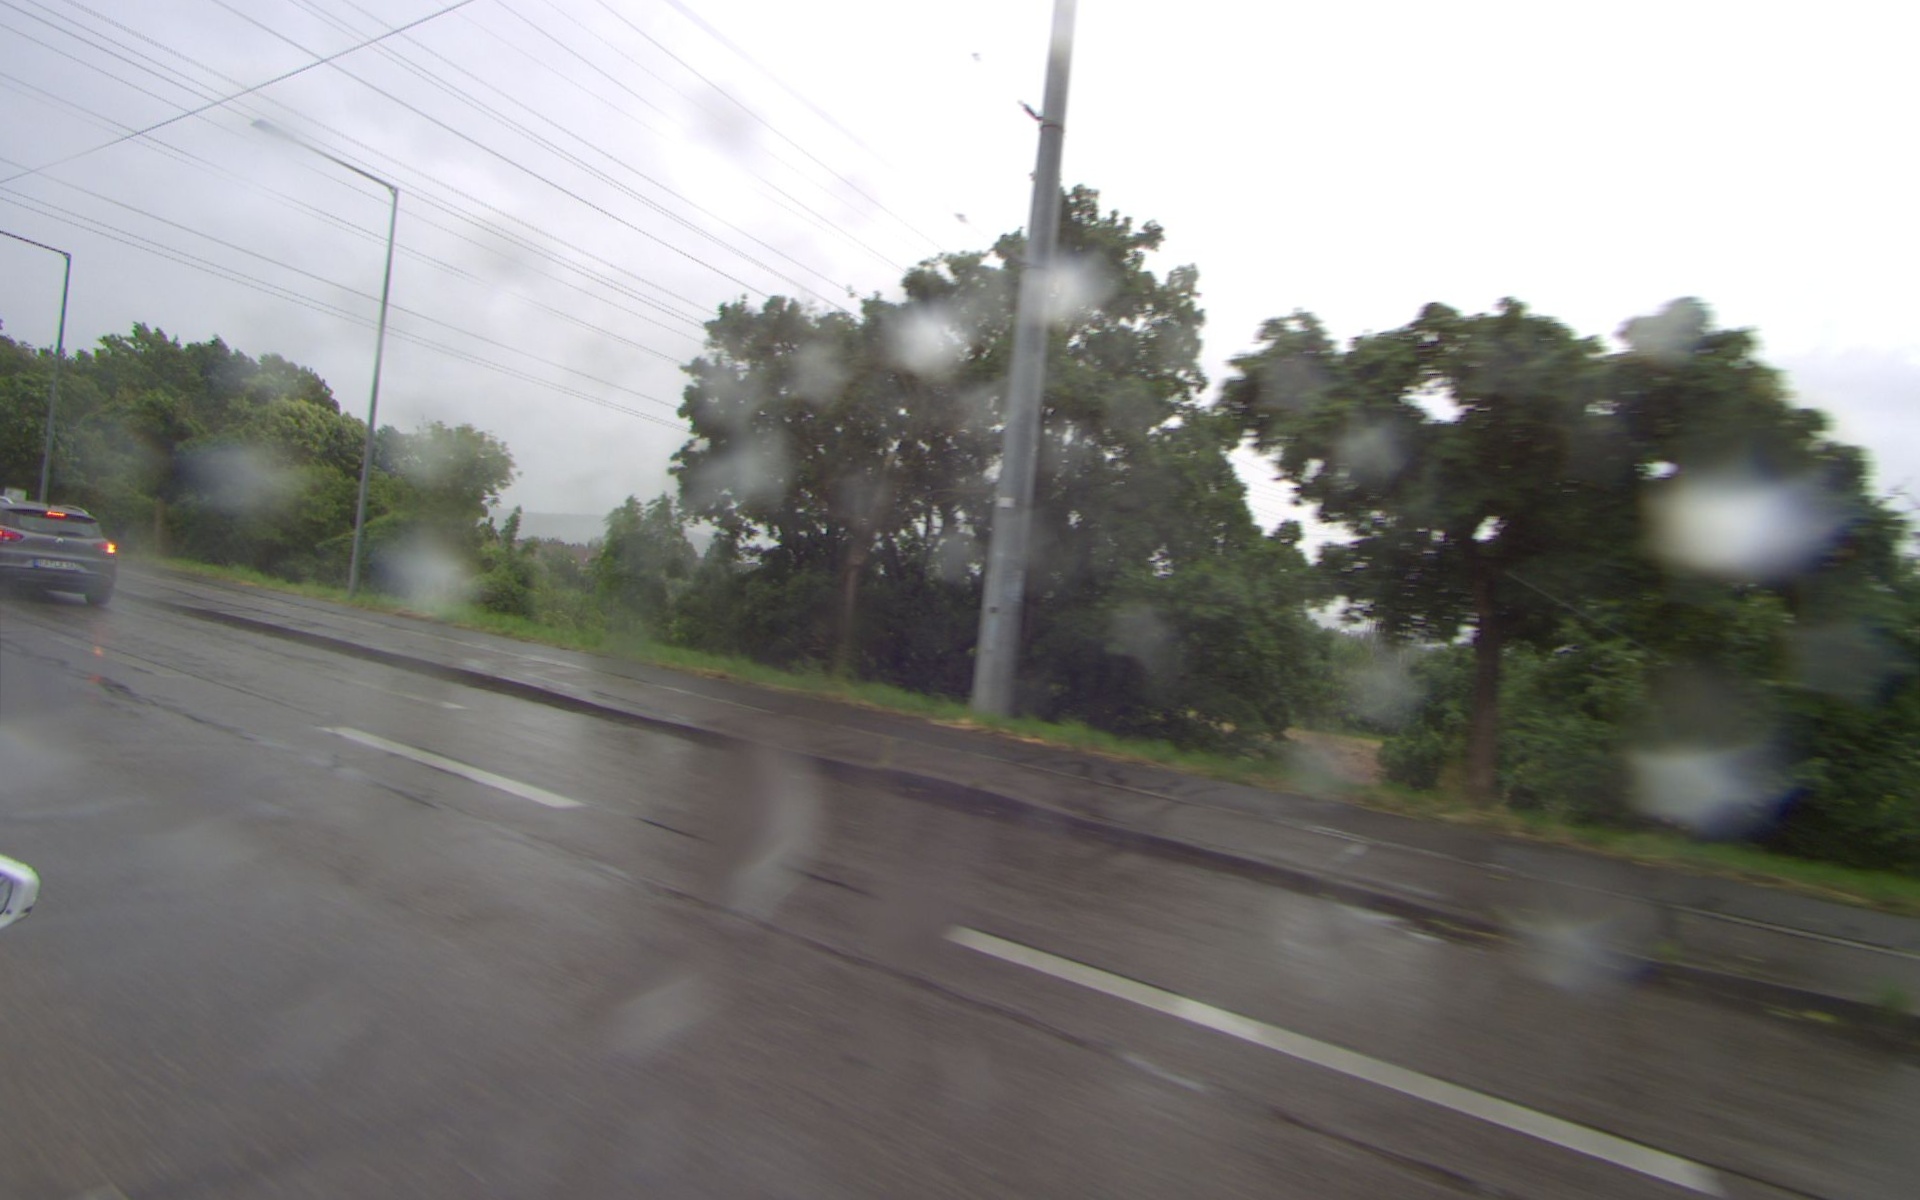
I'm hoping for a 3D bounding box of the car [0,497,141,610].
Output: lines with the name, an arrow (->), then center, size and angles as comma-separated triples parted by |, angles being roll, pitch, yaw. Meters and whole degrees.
car -> -14.785, -0.854, 15.626 | 4.207, 1.373, 1.891 | 8, -1, 33
